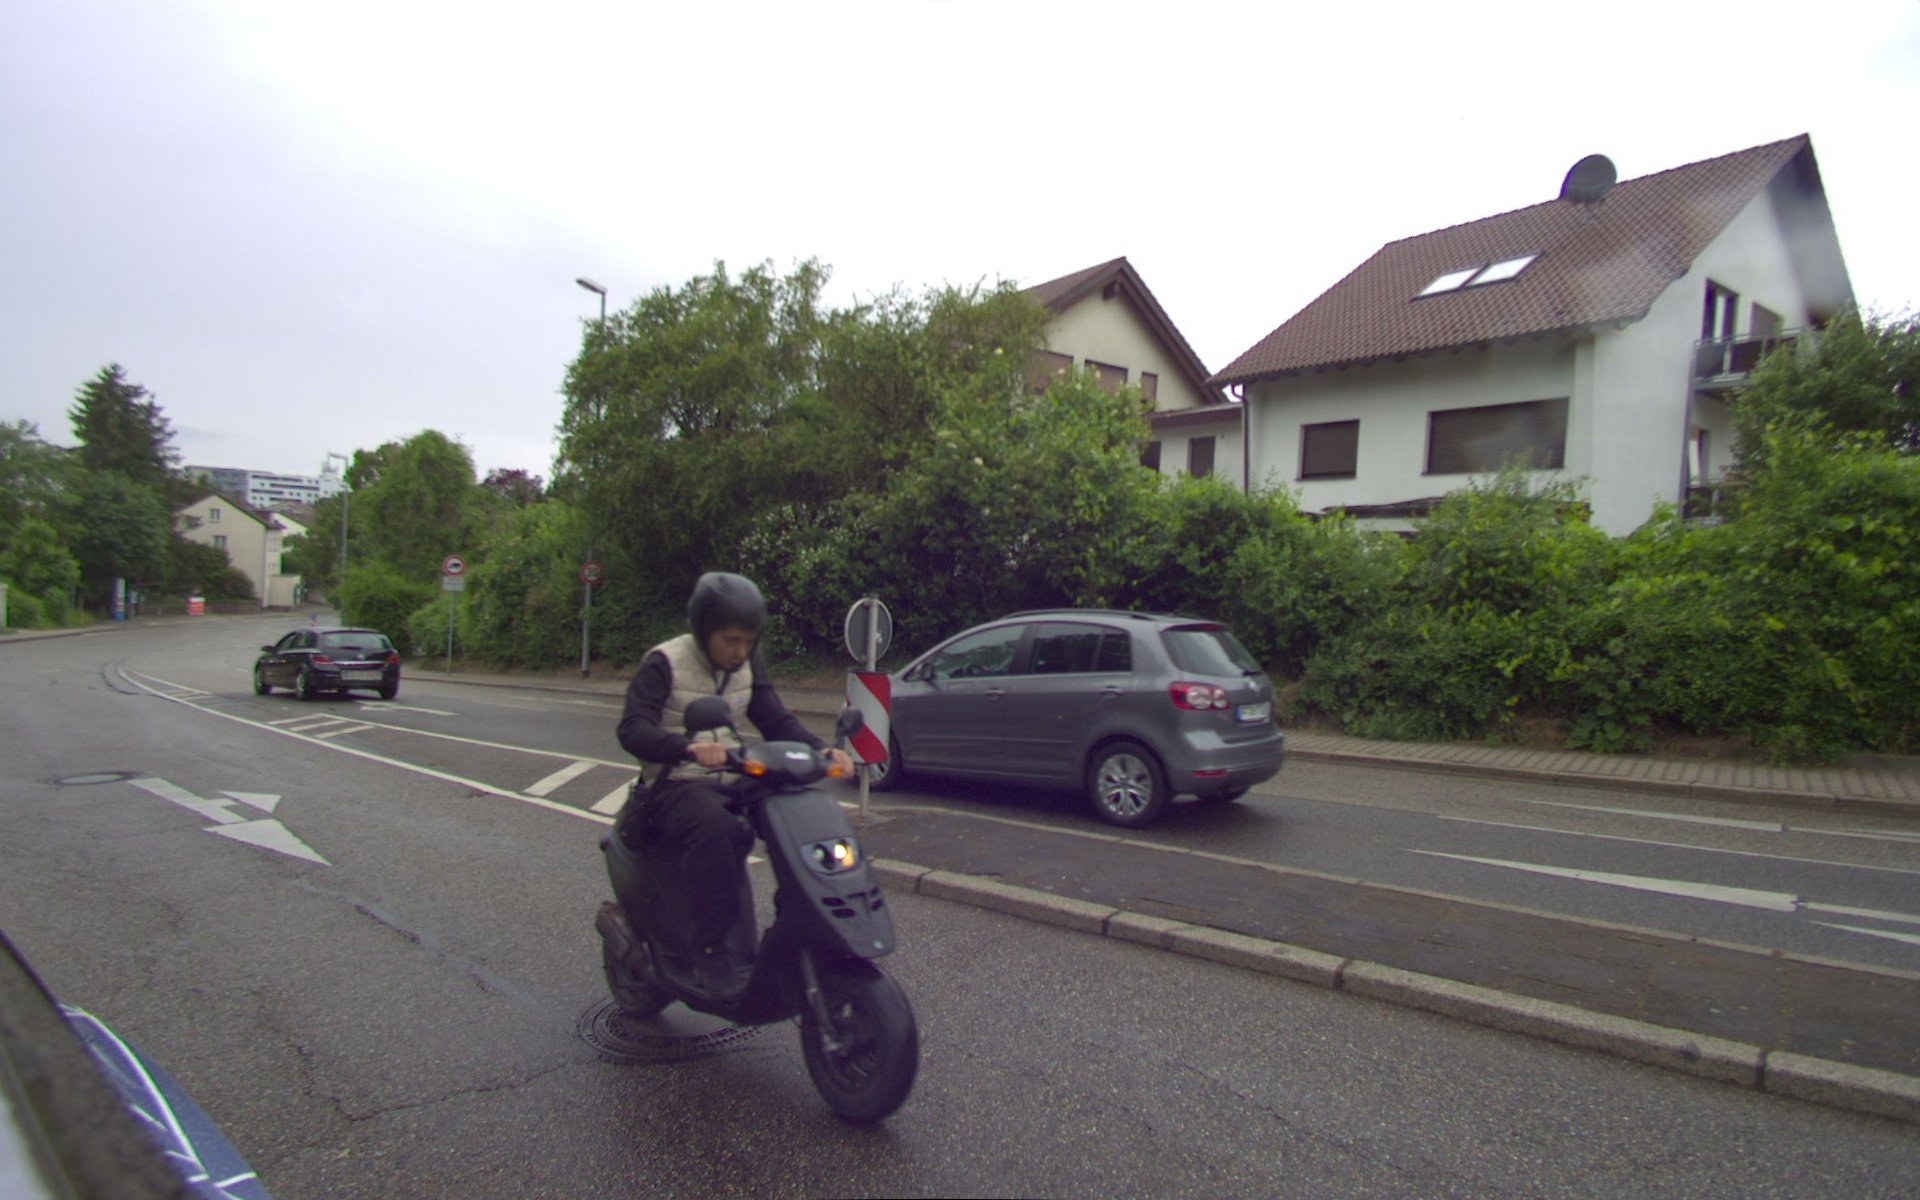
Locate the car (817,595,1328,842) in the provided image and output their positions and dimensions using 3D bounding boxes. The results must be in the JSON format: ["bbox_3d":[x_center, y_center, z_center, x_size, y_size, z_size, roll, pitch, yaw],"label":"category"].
[{"bbox_3d":[0.811,0.845,8.588,4.027,1.614,1.725,-1,-3,39],"label":"car"}]

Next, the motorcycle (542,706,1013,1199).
[{"bbox_3d":[-0.701,0.972,3.368,0.682,1.061,1.749,3,-1,-43],"label":"motorcycle"}]

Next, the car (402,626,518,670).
[{"bbox_3d":[-20.973,1.970,42.549,3.939,1.548,2.003,-3,1,-42],"label":"car"}]

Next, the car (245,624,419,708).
[{"bbox_3d":[-12.750,1.270,20.452,3.998,1.521,1.875,-1,-3,41],"label":"car"}]

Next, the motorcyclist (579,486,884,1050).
[{"bbox_3d":[-0.784,0.502,3.489,0.756,1.655,0.675,3,-2,-43],"label":"motorcyclist"}]
